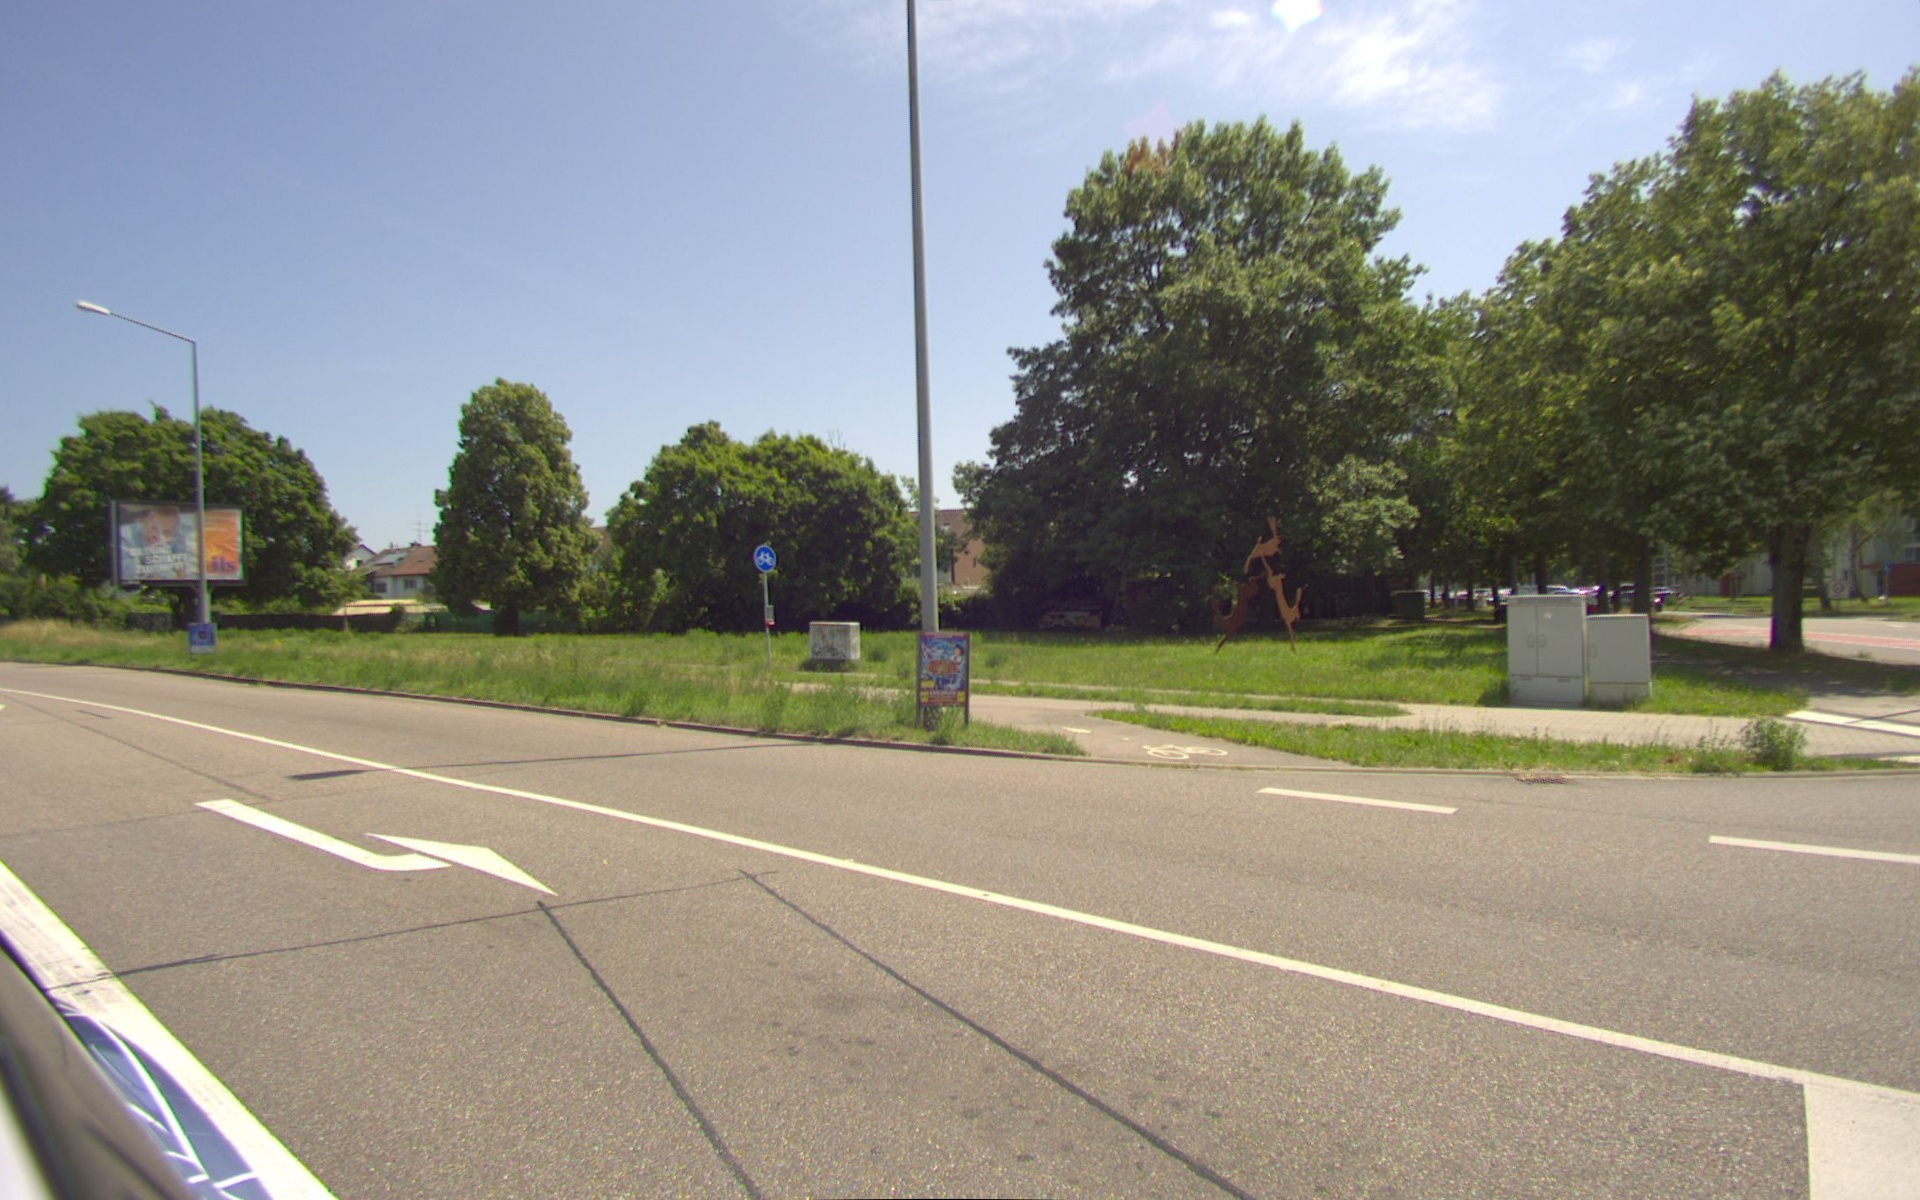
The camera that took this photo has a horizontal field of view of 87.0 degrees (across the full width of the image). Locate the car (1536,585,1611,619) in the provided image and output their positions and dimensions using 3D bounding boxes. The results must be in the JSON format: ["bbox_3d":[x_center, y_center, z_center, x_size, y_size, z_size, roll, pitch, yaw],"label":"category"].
[{"bbox_3d":[41.226,0.141,68.103,3.971,2.028,1.987,-2,3,21],"label":"car"}]

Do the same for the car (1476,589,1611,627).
[{"bbox_3d":[24.906,0.363,43.388,1.966,1.479,4.597,-1,-1,-32],"label":"car"}]

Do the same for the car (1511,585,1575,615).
[{"bbox_3d":[44.609,0.006,77.526,3.971,2.028,1.987,-2,3,21],"label":"car"}]

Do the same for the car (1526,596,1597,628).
[{"bbox_3d":[42.778,0.838,72.064,3.971,2.028,1.987,-2,3,21],"label":"car"}]
